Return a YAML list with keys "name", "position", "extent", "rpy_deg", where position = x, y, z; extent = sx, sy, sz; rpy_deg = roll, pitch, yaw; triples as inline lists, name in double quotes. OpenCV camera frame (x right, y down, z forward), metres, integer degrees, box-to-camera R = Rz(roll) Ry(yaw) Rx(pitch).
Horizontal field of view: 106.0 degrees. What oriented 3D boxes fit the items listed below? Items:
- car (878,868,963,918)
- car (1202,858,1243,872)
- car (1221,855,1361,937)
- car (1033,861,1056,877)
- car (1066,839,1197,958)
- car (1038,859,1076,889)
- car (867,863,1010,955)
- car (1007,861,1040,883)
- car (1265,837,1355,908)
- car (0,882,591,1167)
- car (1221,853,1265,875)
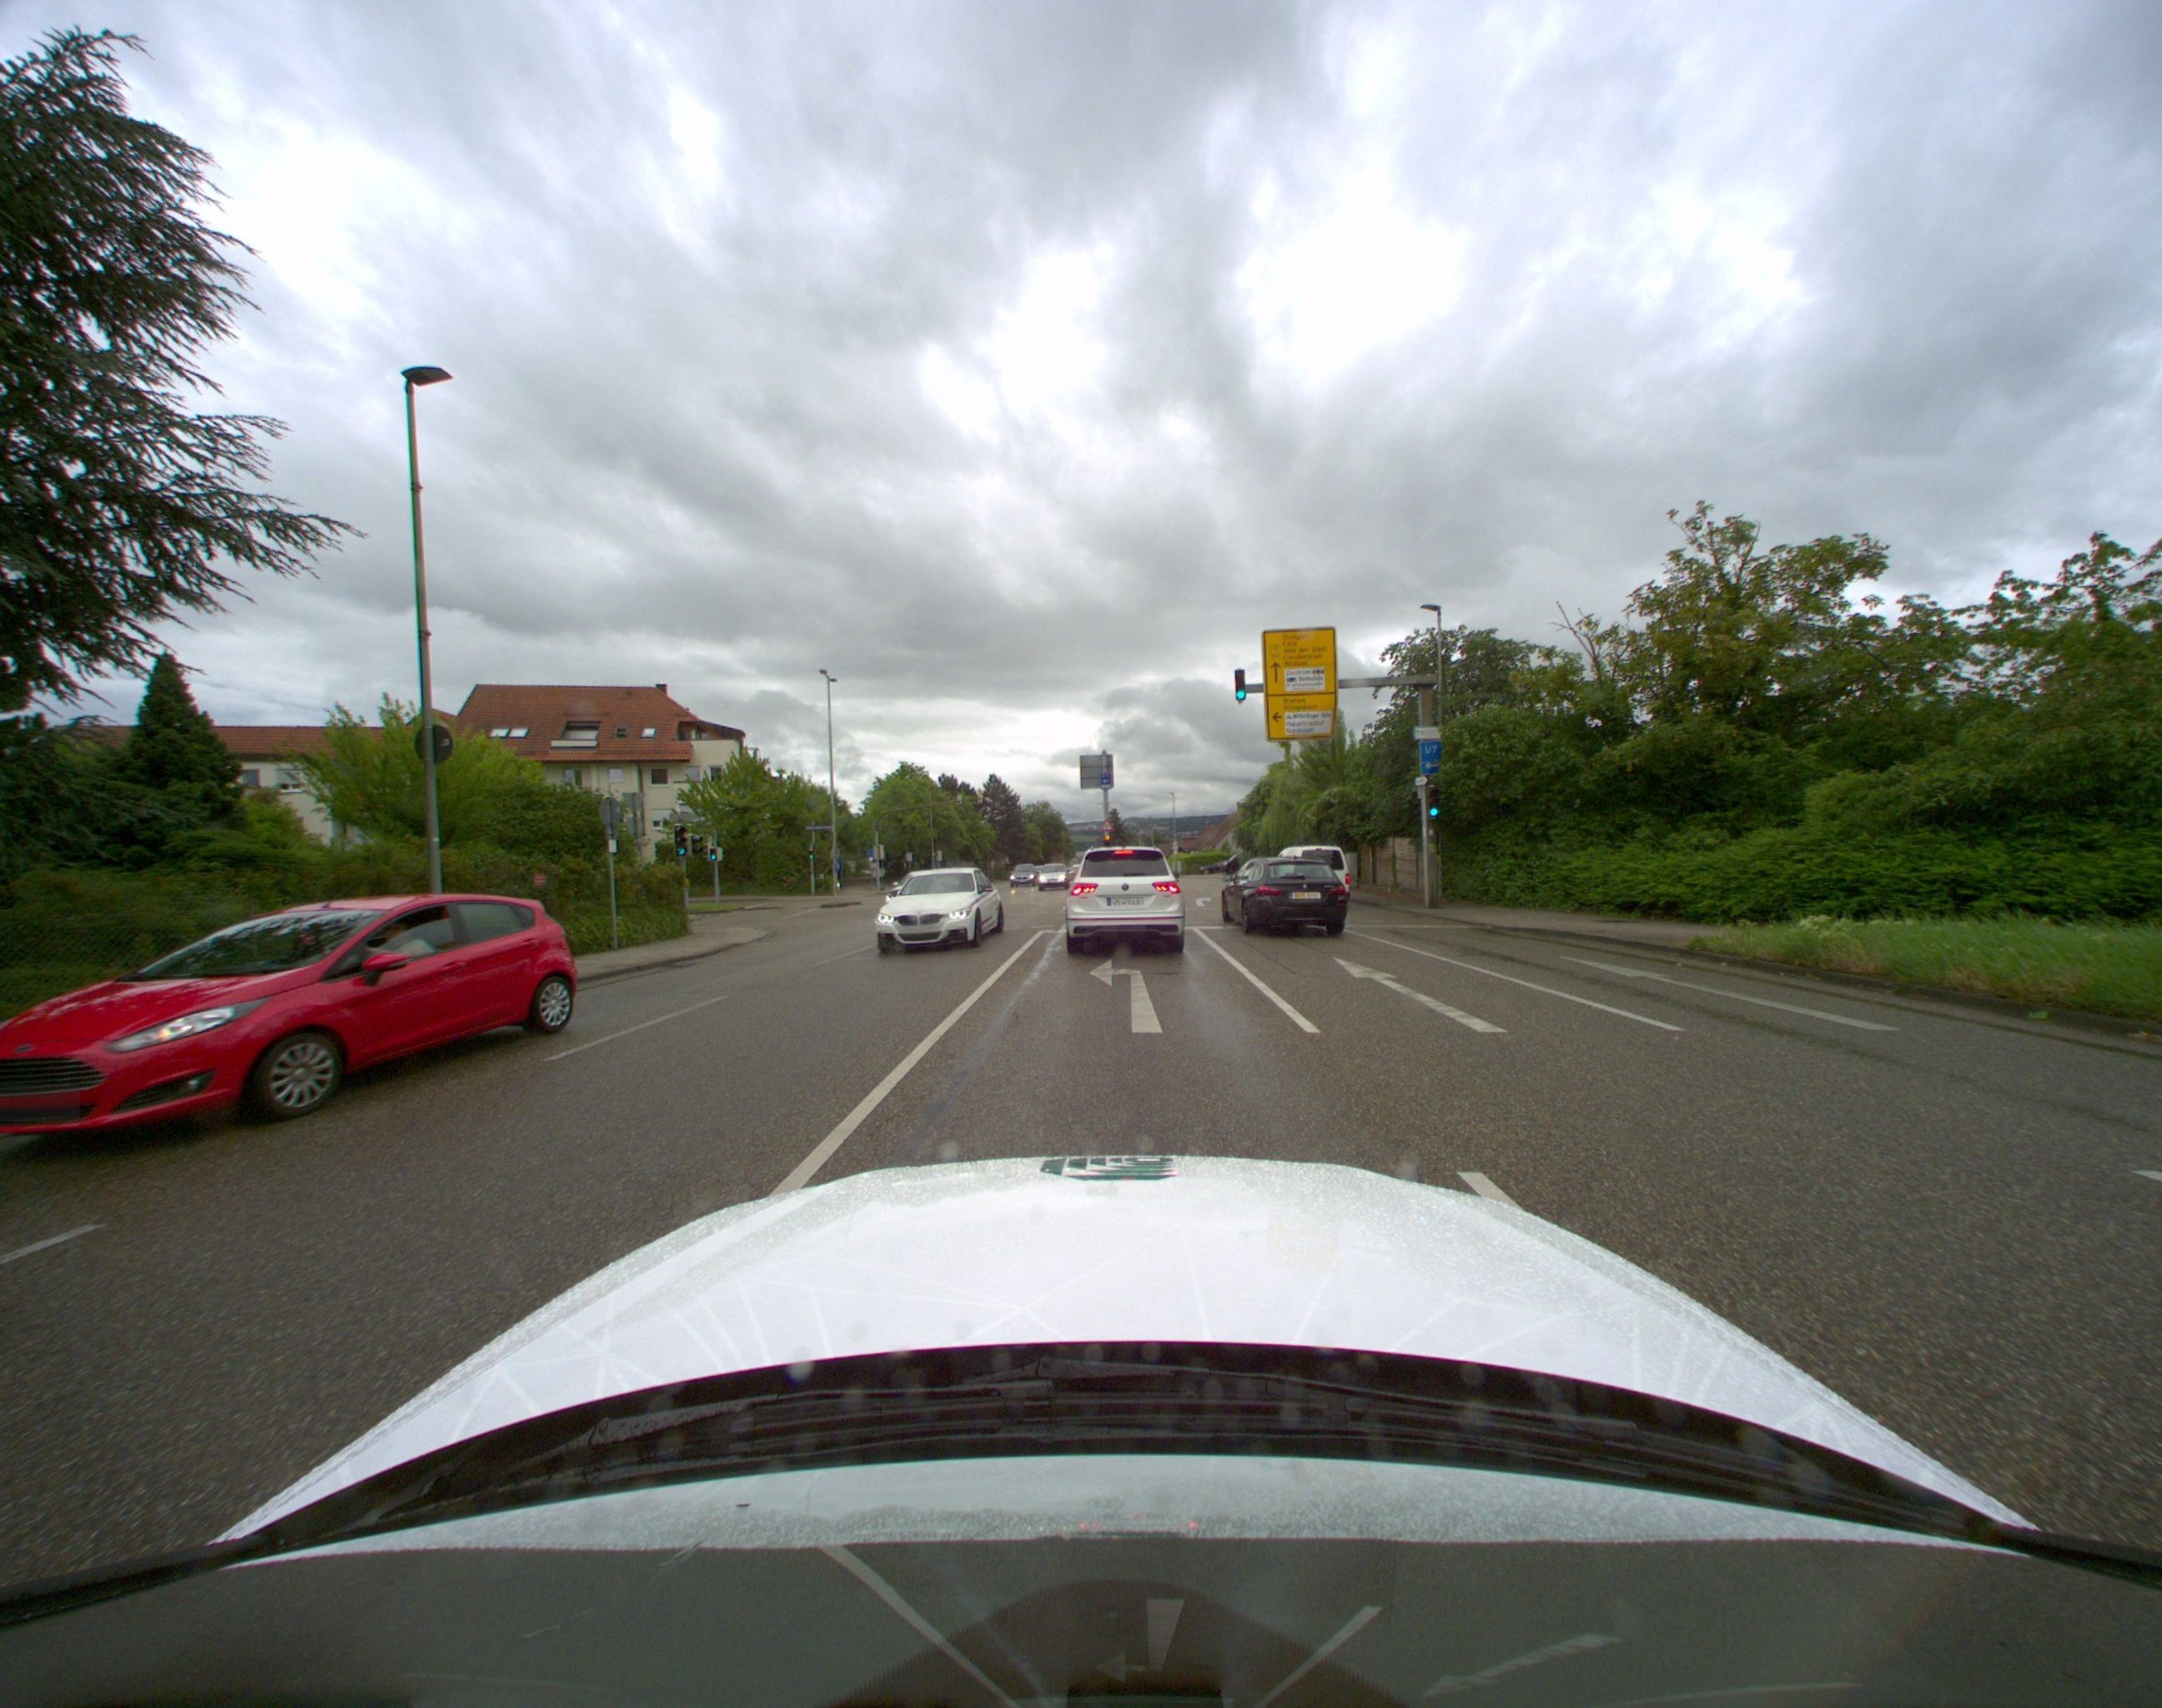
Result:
- name: "car"
  position: [-5.341, 1.254, 27.651]
  extent: [1.768, 1.385, 4.551]
  rpy_deg: [-3, 0, 2]
- name: "car"
  position: [14.066, 1.115, 81.225]
  extent: [3.967, 1.376, 1.587]
  rpy_deg: [-1, 0, 5]
- name: "car"
  position: [4.037, 0.788, 16.310]
  extent: [1.892, 1.442, 4.001]
  rpy_deg: [0, -2, 2]
- name: "car"
  position: [-3.256, 1.346, 73.082]
  extent: [1.643, 1.273, 3.625]
  rpy_deg: [-2, 0, 4]
- name: "car"
  position: [0.806, 0.664, 13.756]
  extent: [1.861, 1.674, 4.002]
  rpy_deg: [-1, -1, 2]
- name: "car"
  position: [-1.323, 1.090, 46.027]
  extent: [1.768, 1.458, 4.552]
  rpy_deg: [-3, 0, 2]
- name: "car"
  position: [-2.606, 0.951, 15.971]
  extent: [1.742, 1.385, 4.414]
  rpy_deg: [-4, 0, 3]
- name: "car"
  position: [-4.078, 1.270, 58.552]
  extent: [1.768, 1.458, 4.552]
  rpy_deg: [-3, 0, 2]
- name: "car"
  position: [6.814, 0.468, 24.626]
  extent: [1.758, 1.877, 3.807]
  rpy_deg: [-1, 2, 2]
- name: "car"
  position: [-5.999, 1.079, 6.606]
  extent: [1.626, 1.456, 3.703]
  rpy_deg: [-4, 0, 2]
- name: "car"
  position: [15.160, 0.941, 76.335]
  extent: [3.967, 1.956, 1.587]
  rpy_deg: [-1, 0, 5]
